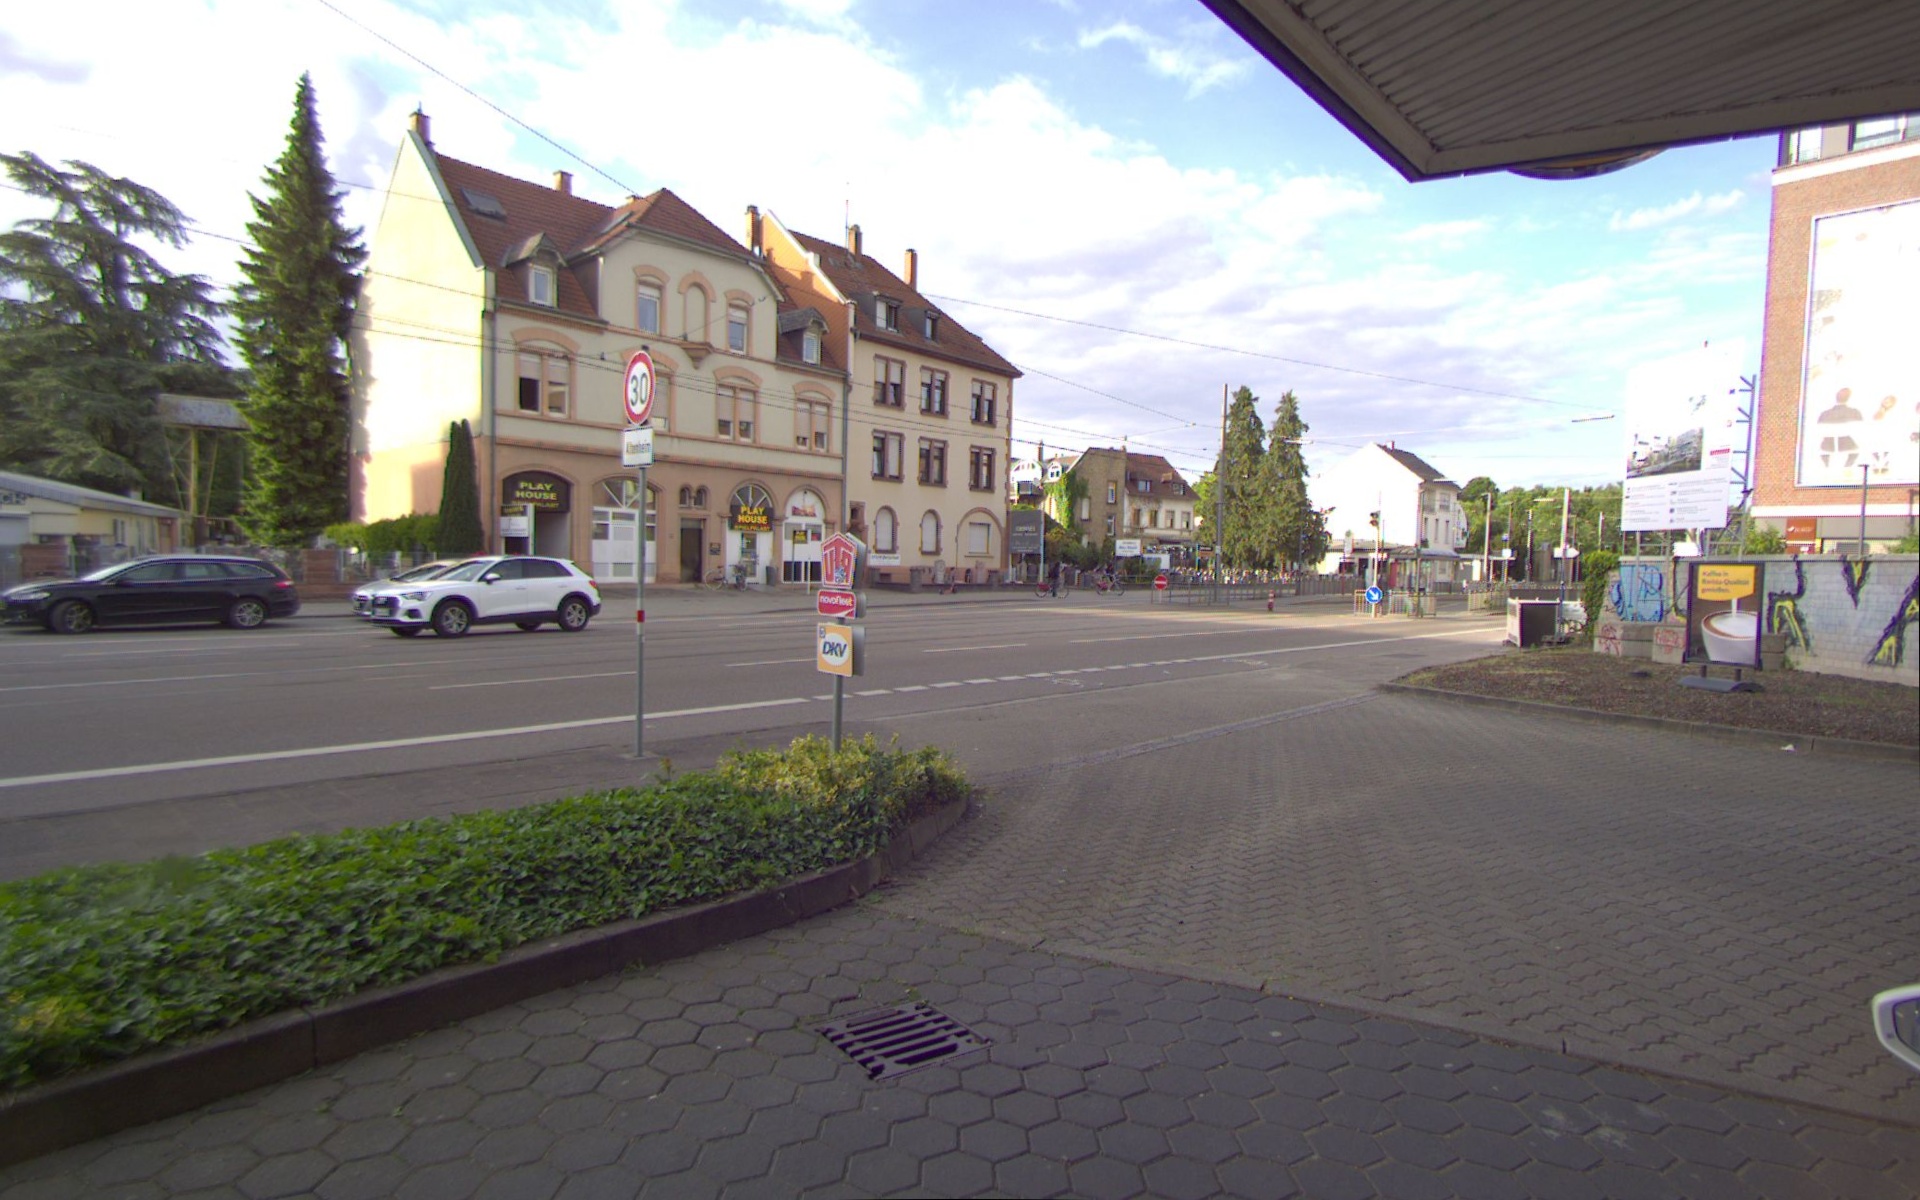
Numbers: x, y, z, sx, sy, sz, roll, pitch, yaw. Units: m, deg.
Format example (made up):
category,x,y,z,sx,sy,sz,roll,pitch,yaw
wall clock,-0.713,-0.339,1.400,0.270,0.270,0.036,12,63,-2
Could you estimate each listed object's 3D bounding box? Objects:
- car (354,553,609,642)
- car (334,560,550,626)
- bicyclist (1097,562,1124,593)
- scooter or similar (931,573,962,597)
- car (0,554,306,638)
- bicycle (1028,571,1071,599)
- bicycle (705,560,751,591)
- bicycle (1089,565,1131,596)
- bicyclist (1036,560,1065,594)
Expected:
category,x,y,z,sx,sy,sz,roll,pitch,yaw
car,-9.508,-0.117,20.336,1.809,1.598,4.370,1,2,32
car,-13.005,-0.246,25.461,1.970,1.495,4.467,3,3,40
bicyclist,7.955,-1.186,53.044,1.079,1.512,0.785,2,4,-20
scooter or similar,-0.600,-0.693,45.131,0.488,1.015,1.592,5,5,39
car,-16.573,-0.147,20.729,1.970,1.516,4.801,3,3,40
bicycle,4.346,-0.717,48.570,1.884,1.219,0.839,1,6,-31
bicycle,-9.146,-0.956,39.705,0.508,1.189,1.809,4,2,40
bicycle,7.902,-1.052,53.034,1.962,1.512,0.785,2,4,-21
bicyclist,4.375,-1.108,48.525,0.953,1.579,0.839,1,6,-31
